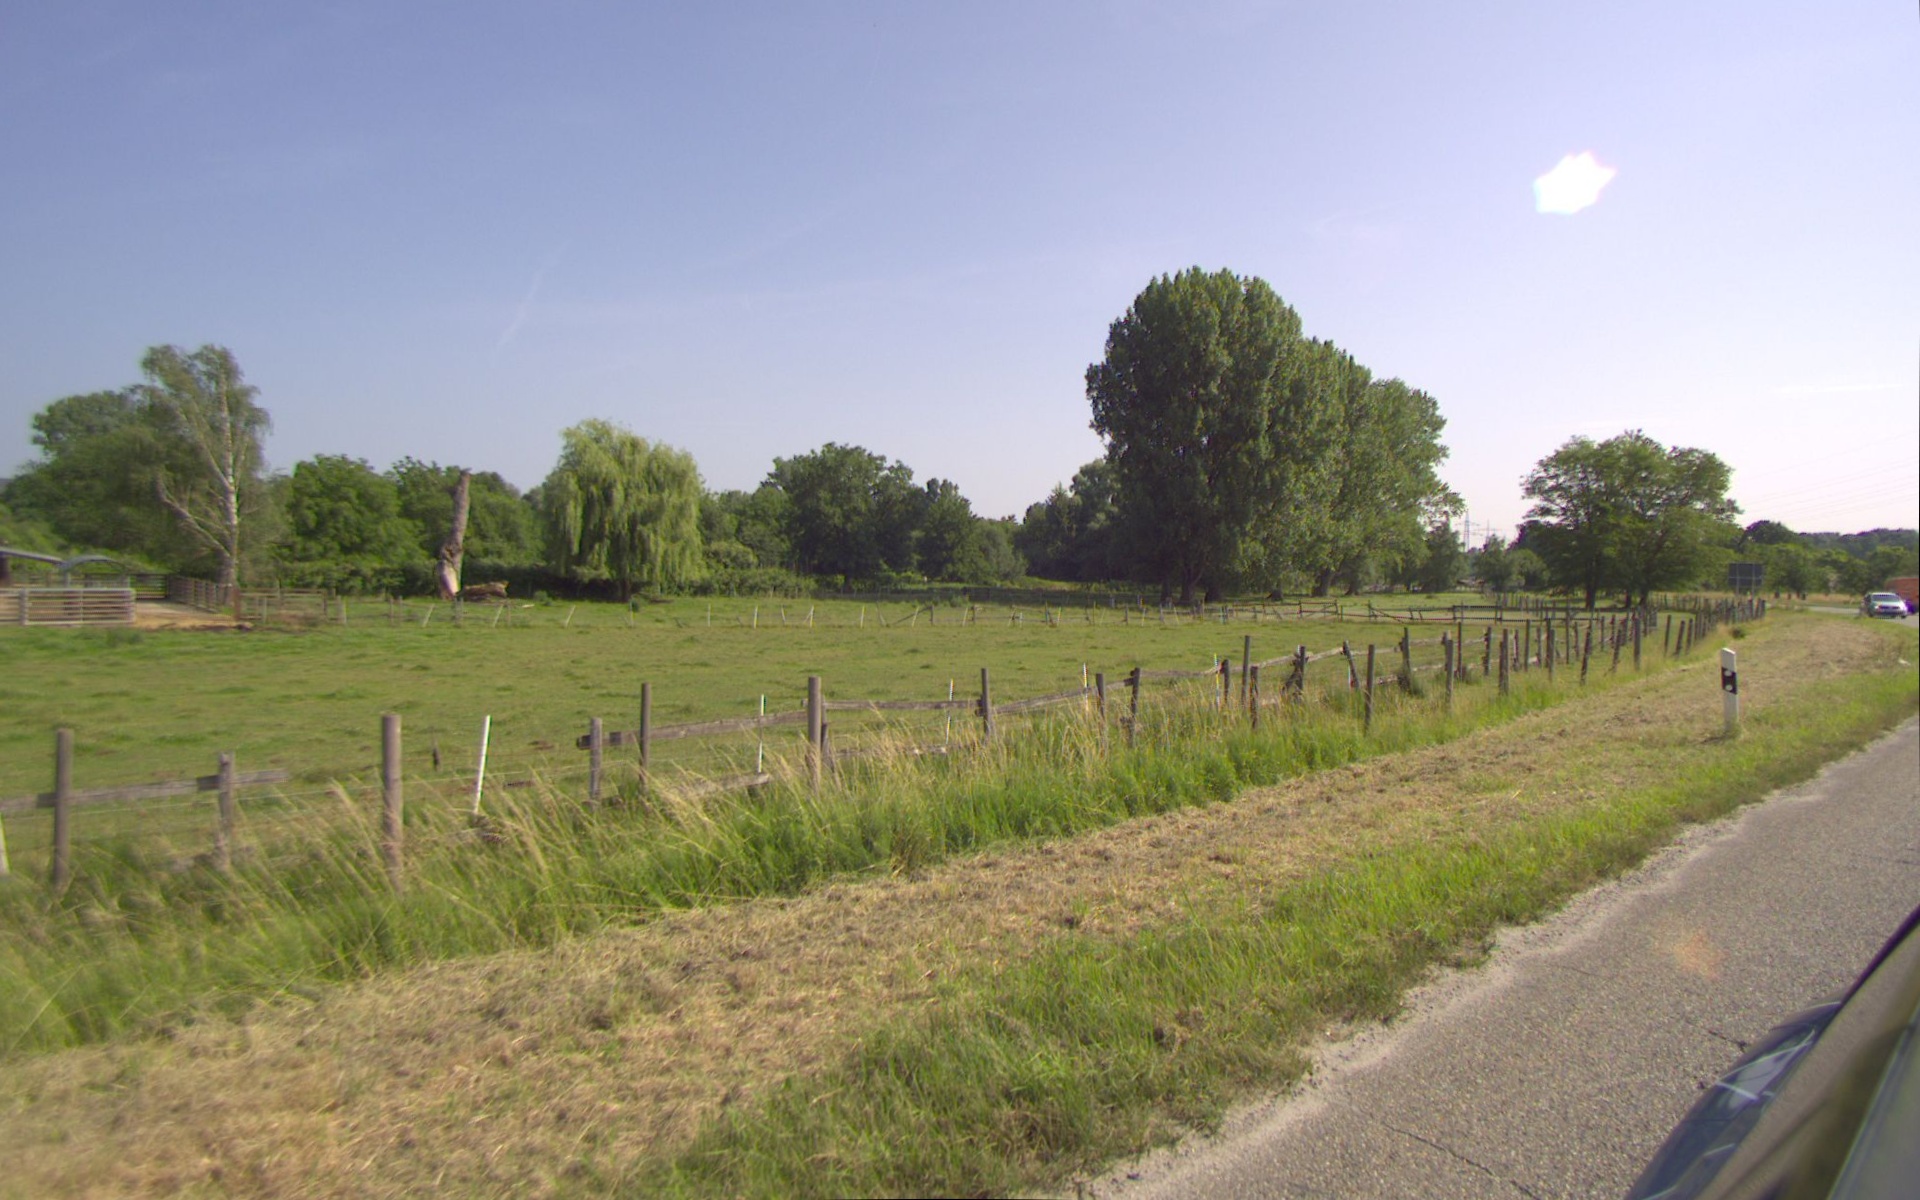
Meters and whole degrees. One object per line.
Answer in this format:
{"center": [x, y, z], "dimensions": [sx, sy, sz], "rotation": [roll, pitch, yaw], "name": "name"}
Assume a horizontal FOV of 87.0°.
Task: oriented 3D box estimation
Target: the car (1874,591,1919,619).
{"center": [57.933, 0.277, 62.399], "dimensions": [1.990, 1.599, 3.856], "rotation": [1, 1, 38], "name": "car"}

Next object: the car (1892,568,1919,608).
{"center": [67.144, -0.850, 70.723], "dimensions": [2.116, 2.729, 5.204], "rotation": [1, 1, 34], "name": "car"}
